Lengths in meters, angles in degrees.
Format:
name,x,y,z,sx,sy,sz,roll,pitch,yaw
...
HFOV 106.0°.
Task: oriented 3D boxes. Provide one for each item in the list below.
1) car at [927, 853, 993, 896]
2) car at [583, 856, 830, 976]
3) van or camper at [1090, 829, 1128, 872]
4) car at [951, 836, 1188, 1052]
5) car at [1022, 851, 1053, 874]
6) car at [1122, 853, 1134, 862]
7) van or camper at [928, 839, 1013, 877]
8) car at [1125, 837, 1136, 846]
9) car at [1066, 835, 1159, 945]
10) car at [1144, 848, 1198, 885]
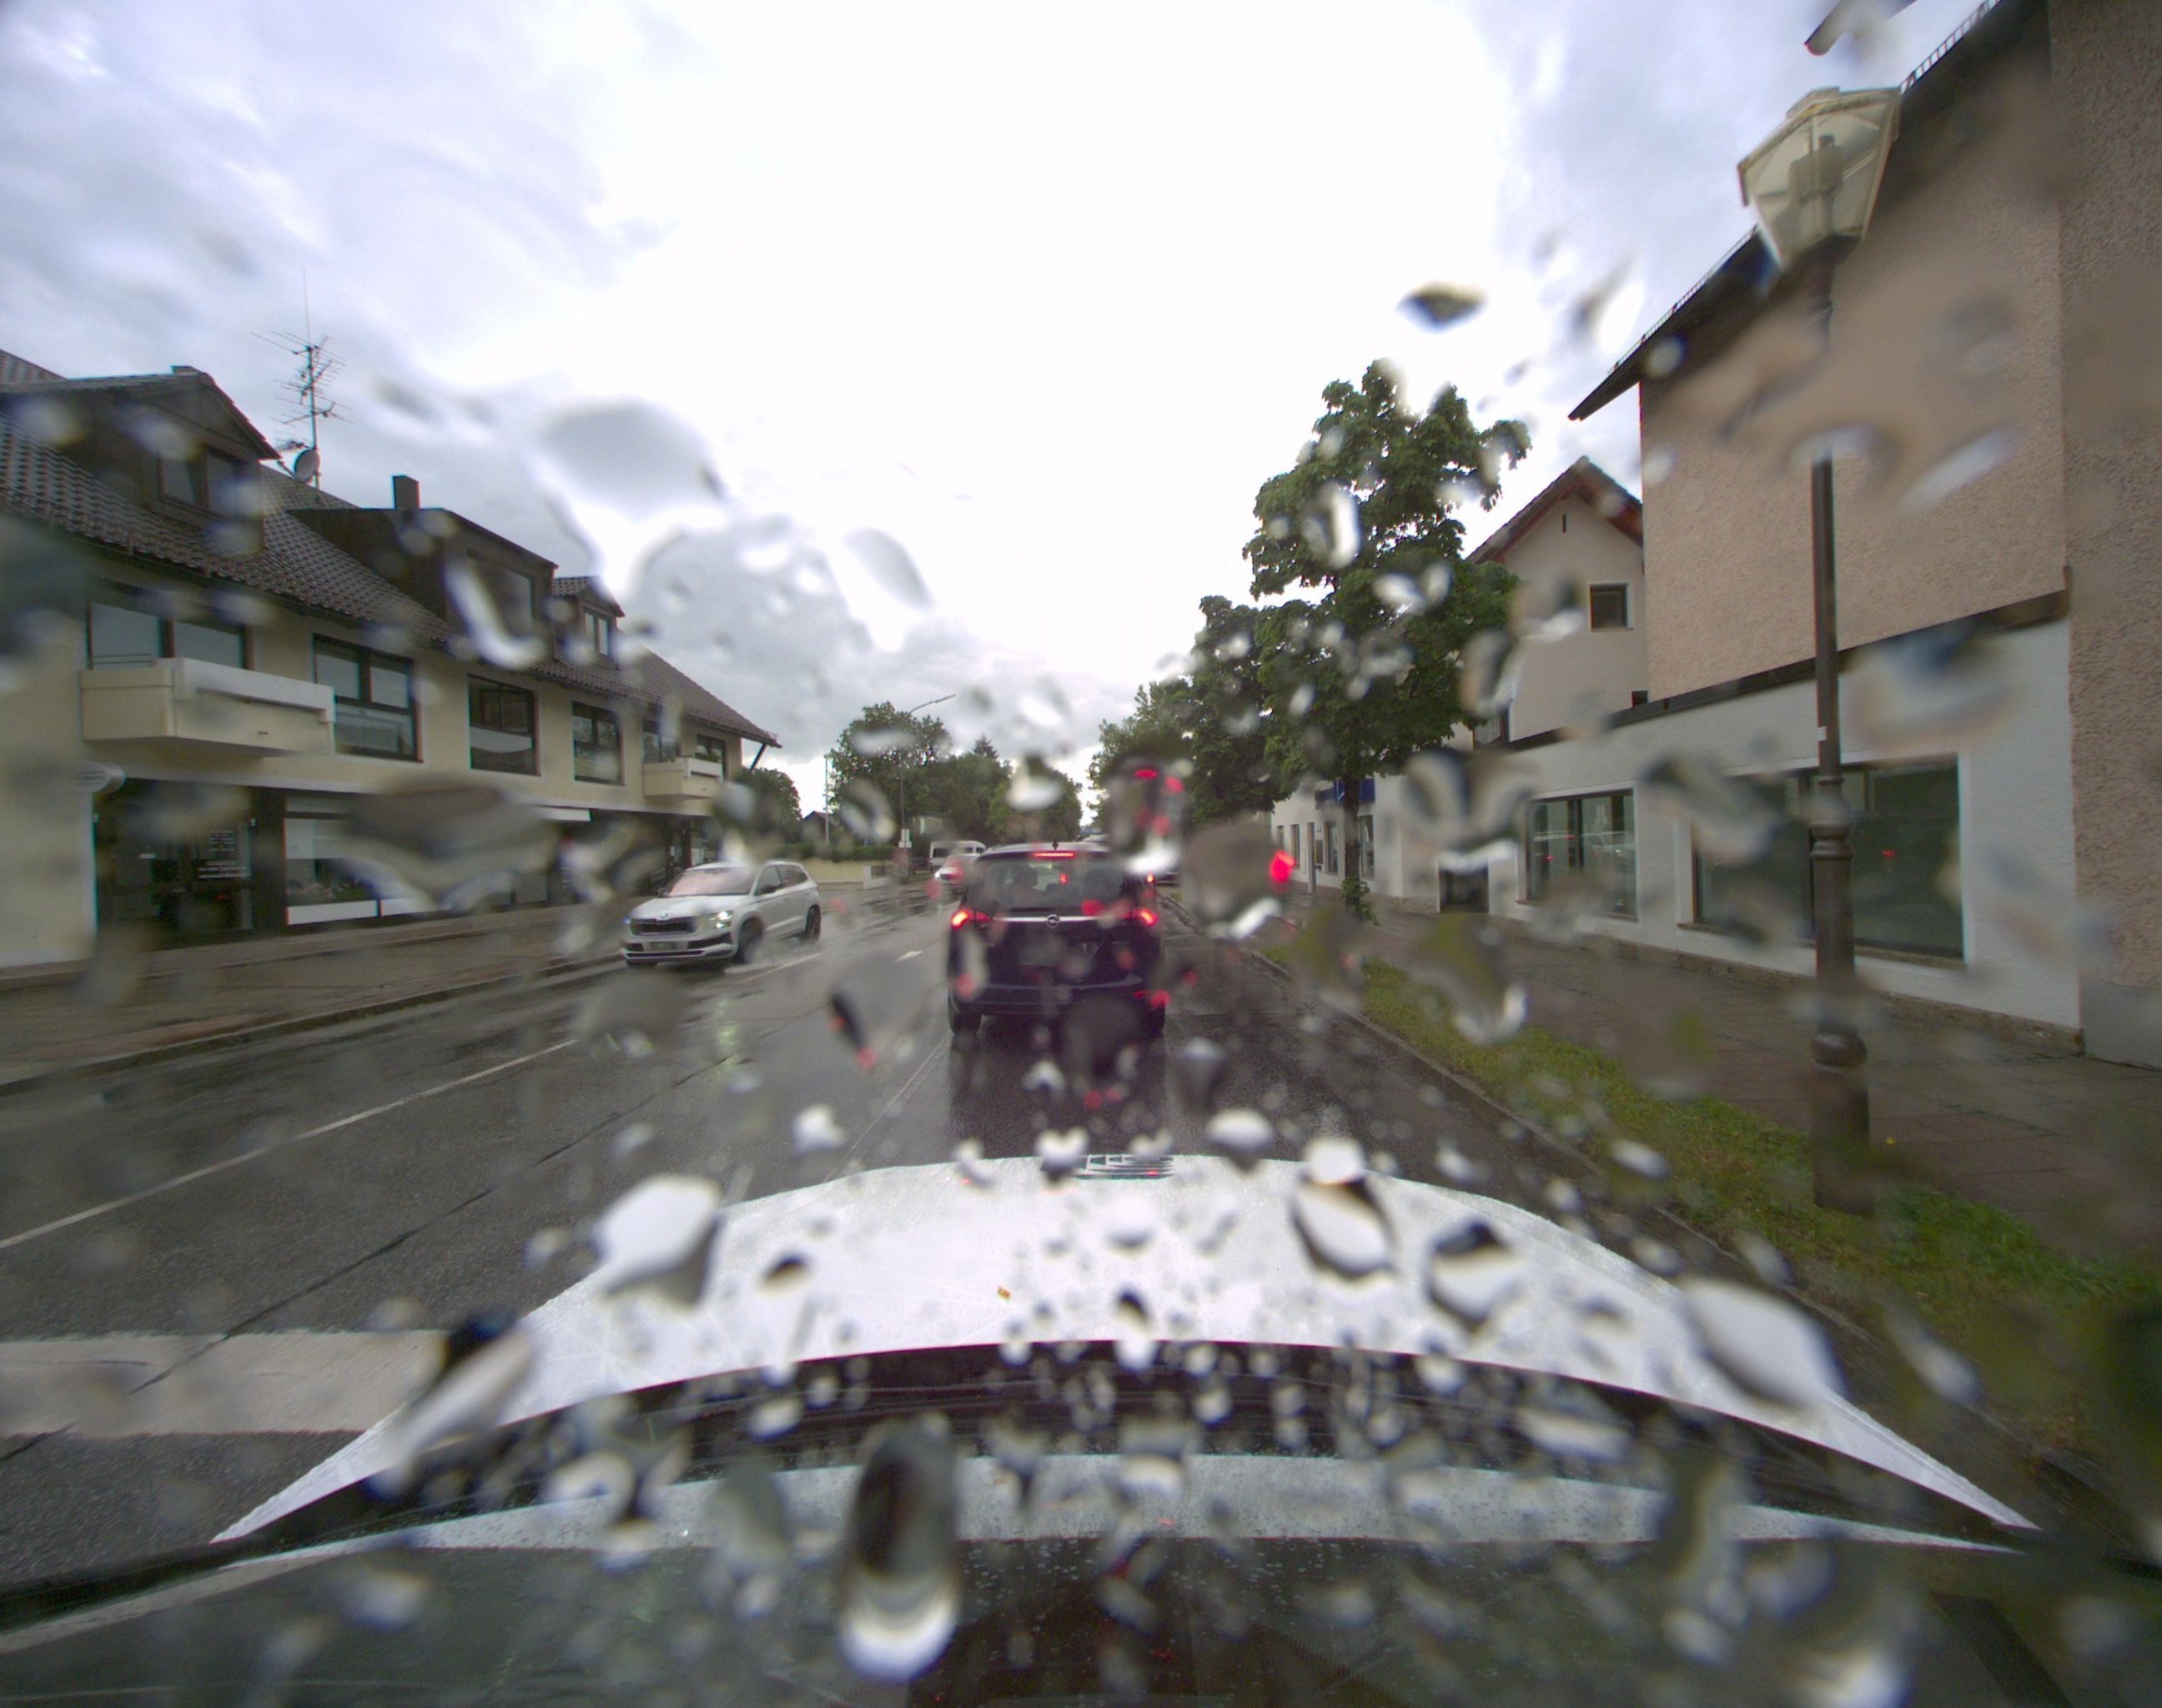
name,x,y,z,sx,sy,sz,roll,pitch,yaw
car,-4.834,0.769,33.143,1.920,1.566,4.127,-2,0,1
car,-5.833,0.857,13.358,1.960,1.562,4.153,-3,0,2
van or camper,1.848,-0.243,54.034,2.351,2.665,5.374,-2,0,2
car,-0.032,0.672,7.956,1.762,1.604,3.664,-1,0,2
car,-3.166,0.617,59.749,1.745,1.511,4.233,-3,0,3
car,7.231,0.552,125.817,1.624,1.378,3.624,0,-1,1
van or camper,-8.464,0.303,62.705,6.233,2.707,2.099,-2,0,-3
car,8.276,-2.080,135.325,1.624,1.378,3.624,-3,0,1
car,0.552,0.575,14.680,1.495,1.776,3.113,0,0,2
car,4.045,0.559,37.059,2.110,1.581,3.936,0,0,1
